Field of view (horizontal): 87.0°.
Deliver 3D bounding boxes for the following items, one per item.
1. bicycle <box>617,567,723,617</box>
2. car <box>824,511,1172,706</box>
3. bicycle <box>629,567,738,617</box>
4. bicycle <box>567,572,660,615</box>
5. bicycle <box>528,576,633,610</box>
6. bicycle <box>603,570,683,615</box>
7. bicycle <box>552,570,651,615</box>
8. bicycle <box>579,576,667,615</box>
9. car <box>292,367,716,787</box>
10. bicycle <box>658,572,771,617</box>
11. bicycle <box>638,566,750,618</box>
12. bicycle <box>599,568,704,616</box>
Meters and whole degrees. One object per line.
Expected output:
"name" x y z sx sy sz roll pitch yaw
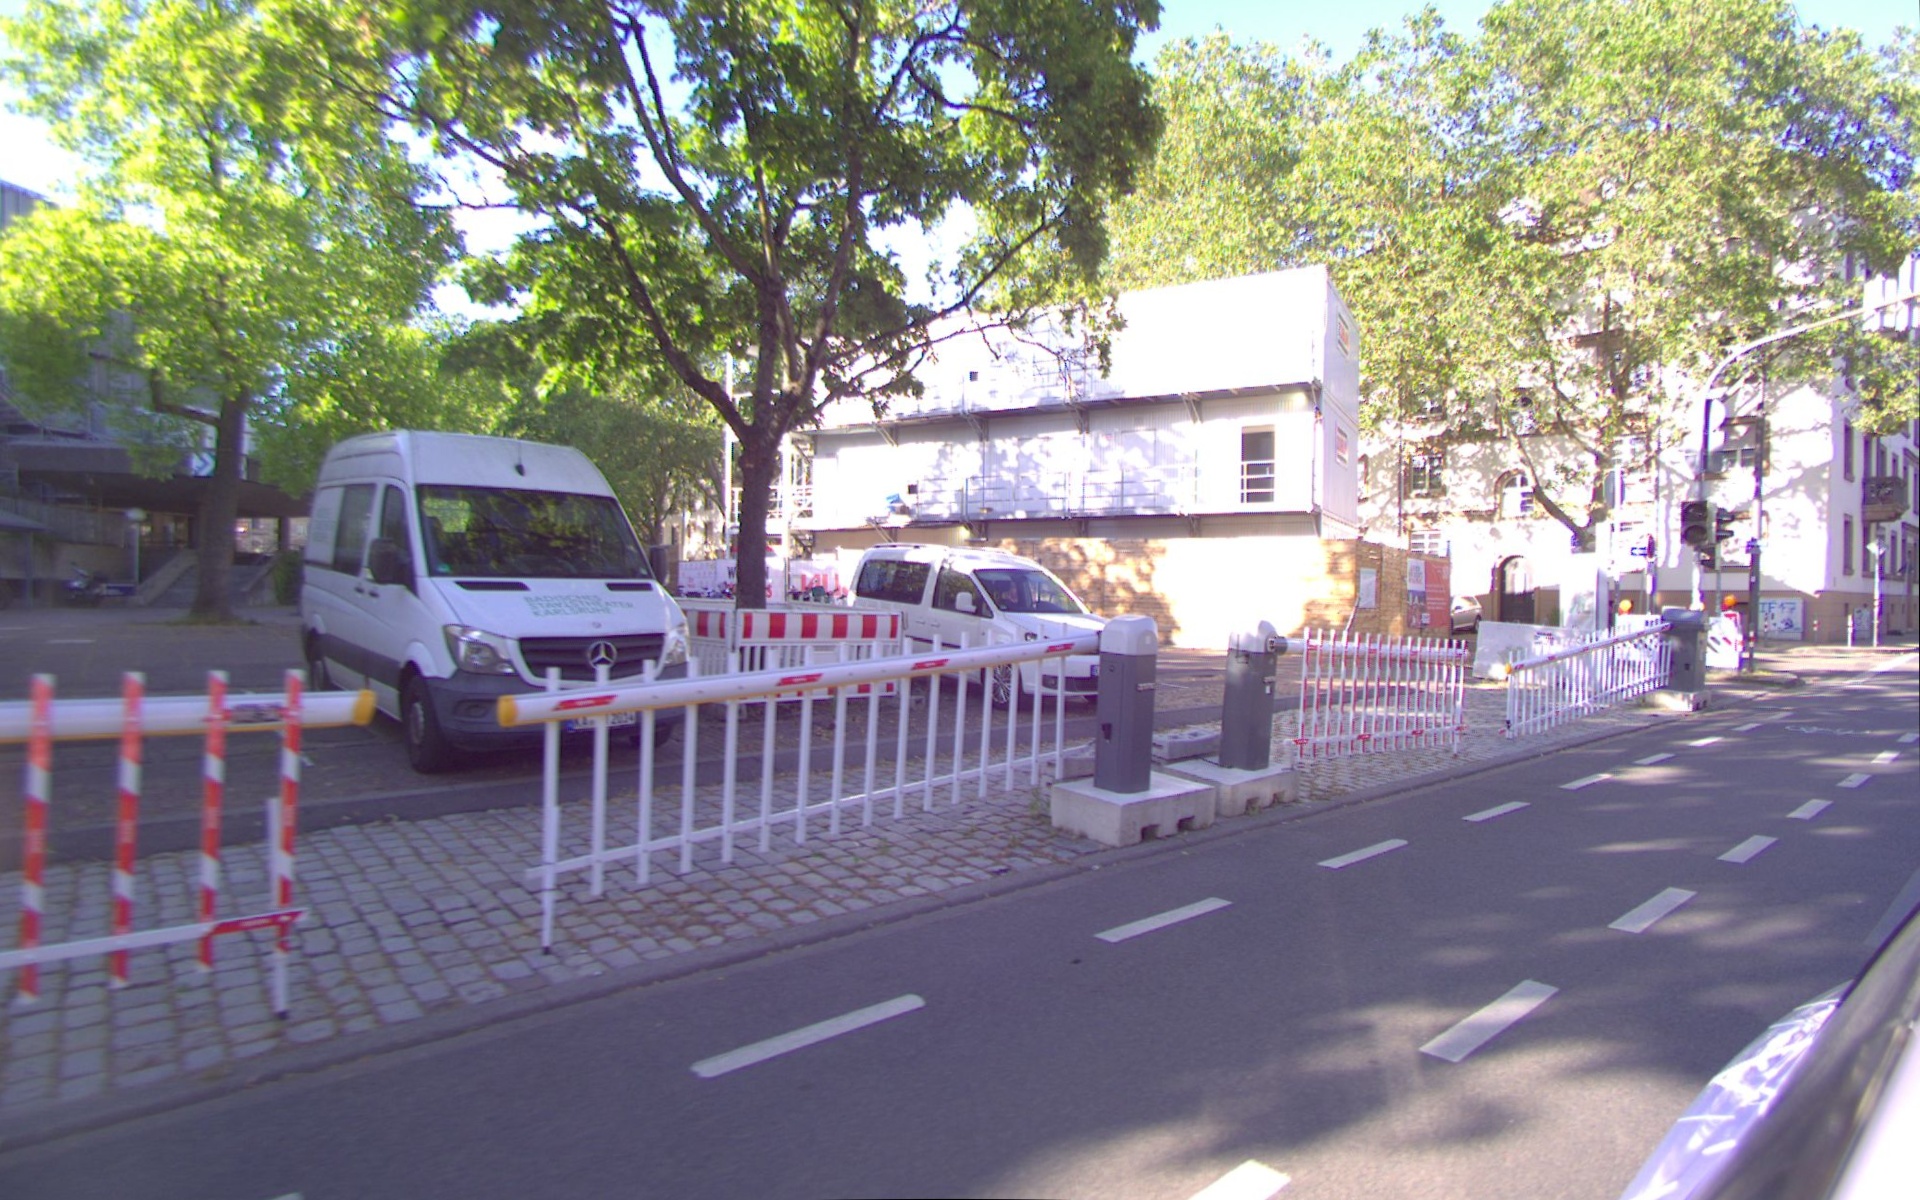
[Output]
"bicycle" -8.033 -0.220 28.137 2.805 1.316 0.702 0 1 -41
"car" 0.264 0.069 13.089 1.963 2.035 4.797 0 0 -36
"bicycle" -7.465 -0.217 27.448 2.805 1.316 0.702 0 1 -41
"bicycle" -10.444 -0.196 30.603 0.701 1.241 2.615 2 1 45
"bicycle" -12.165 -0.223 32.504 3.069 1.064 0.809 0 1 -41
"bicycle" -9.338 -0.227 29.886 0.507 1.300 2.293 1 1 45
"bicycle" -11.019 -0.234 31.224 2.805 1.316 0.702 0 1 -41
"bicycle" -9.993 -0.131 30.100 0.507 1.109 2.509 1 1 45
"car" -4.312 -0.214 8.935 1.979 2.594 5.331 0 2 -41
"bicycle" -6.239 -0.142 25.886 2.805 1.102 0.702 0 1 -41
"bicycle" -6.958 -0.212 26.616 2.805 1.316 0.702 0 1 -41
"bicycle" -8.733 -0.223 28.771 2.805 1.316 0.702 0 1 -41
